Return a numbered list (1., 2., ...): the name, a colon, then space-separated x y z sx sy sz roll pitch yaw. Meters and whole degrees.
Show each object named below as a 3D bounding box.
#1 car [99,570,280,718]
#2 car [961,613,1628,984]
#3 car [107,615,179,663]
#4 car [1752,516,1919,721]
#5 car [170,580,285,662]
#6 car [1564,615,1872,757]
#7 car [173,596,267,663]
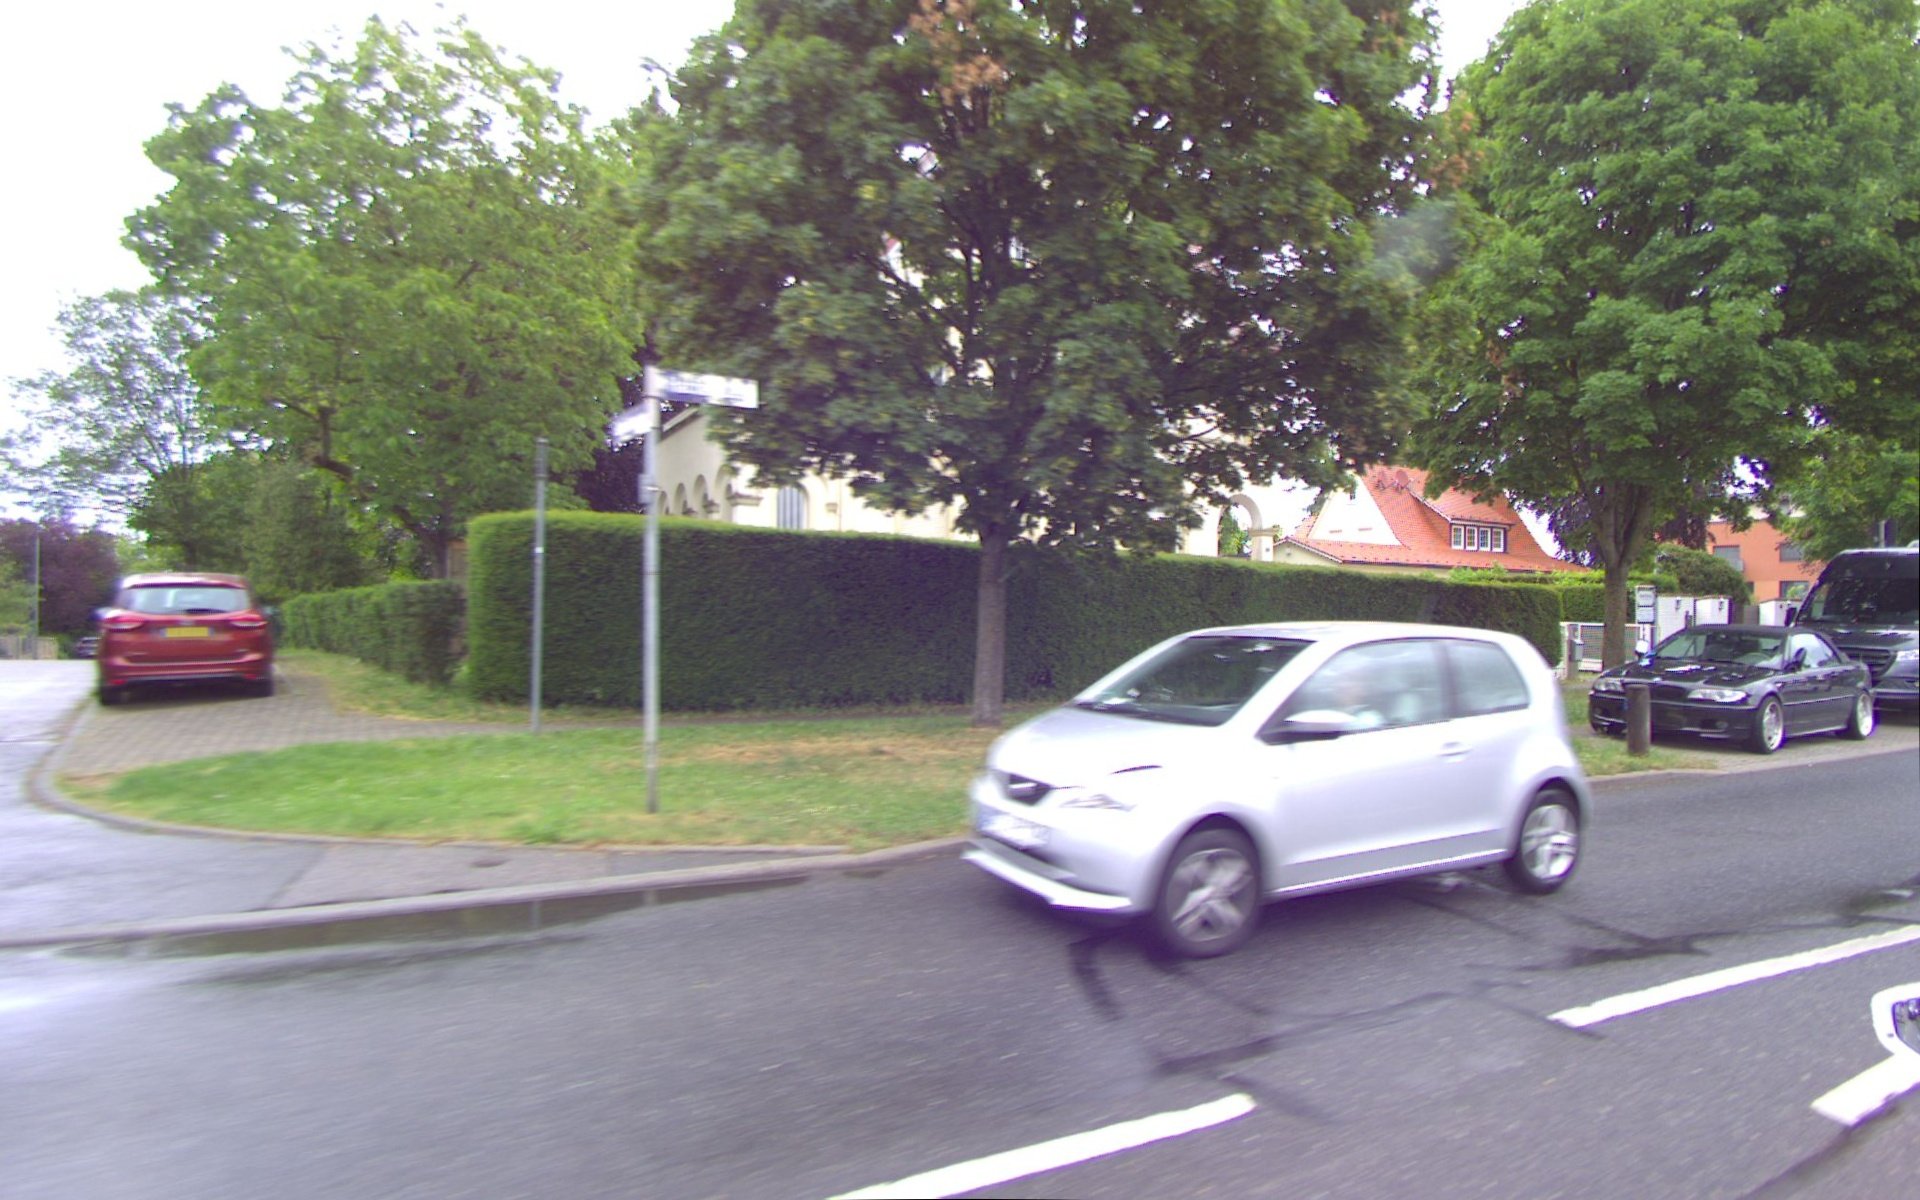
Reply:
1. car: -10.437 0.449 13.682 1.678 1.674 3.985 -2 3 -37
2. car: 1.882 0.846 5.588 3.408 1.483 1.588 1 0 -27
3. car: -27.023 1.325 33.320 1.678 1.433 3.986 -2 -1 -37
4. car: 15.006 0.252 15.783 5.869 2.765 1.983 1 2 -31
5. car: -14.478 0.360 19.818 1.678 1.433 3.985 1 0 -37
6. car: 9.199 0.956 12.133 3.783 1.427 1.713 2 0 -32
7. car: -17.611 0.651 23.884 1.678 1.433 3.985 1 0 -37
